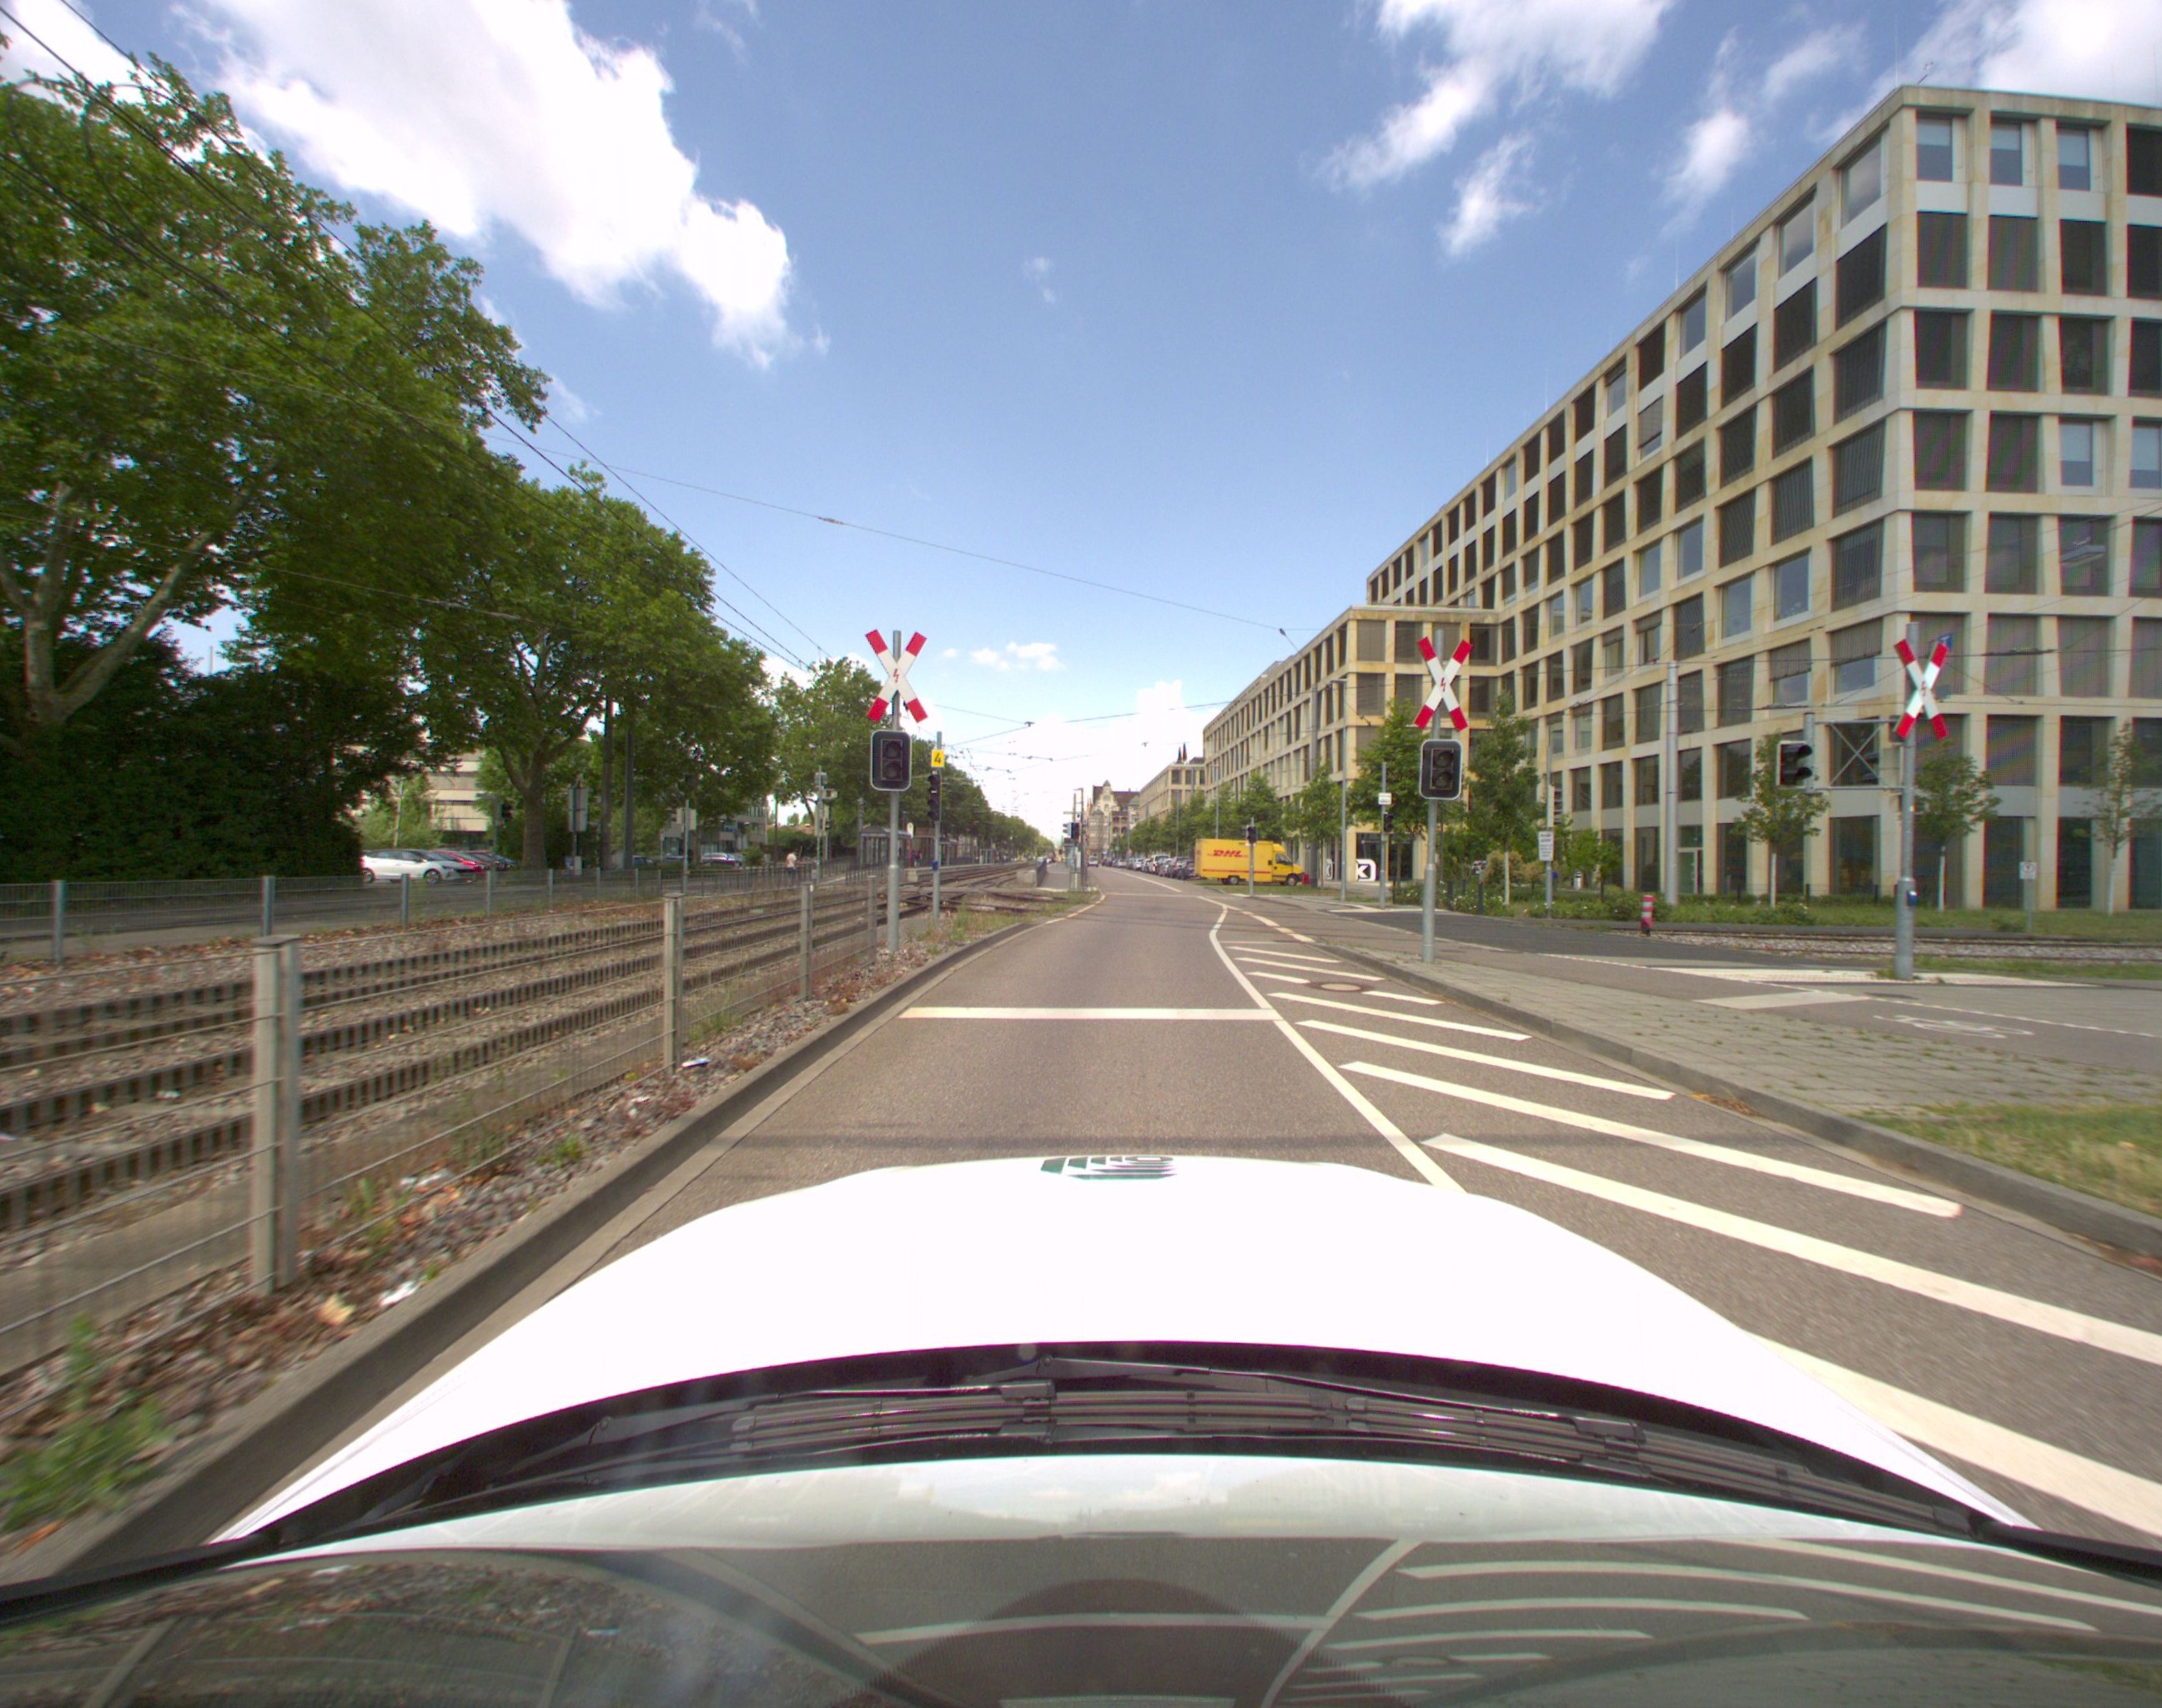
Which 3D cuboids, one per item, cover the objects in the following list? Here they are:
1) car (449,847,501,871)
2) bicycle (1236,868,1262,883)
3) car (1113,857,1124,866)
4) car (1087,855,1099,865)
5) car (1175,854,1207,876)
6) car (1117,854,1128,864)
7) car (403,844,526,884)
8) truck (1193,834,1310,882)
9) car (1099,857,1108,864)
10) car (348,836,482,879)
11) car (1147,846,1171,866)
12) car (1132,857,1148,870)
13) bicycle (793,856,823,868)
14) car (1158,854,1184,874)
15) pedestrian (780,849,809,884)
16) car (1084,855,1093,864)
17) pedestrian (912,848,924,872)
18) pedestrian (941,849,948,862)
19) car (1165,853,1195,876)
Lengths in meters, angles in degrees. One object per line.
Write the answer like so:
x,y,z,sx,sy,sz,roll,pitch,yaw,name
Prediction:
-54.850,0.461,73.746,4.383,2.014,2.012,-1,-1,26,car
12.085,1.538,58.578,1.837,0.957,0.381,2,-1,-3,bicycle
6.700,1.386,147.185,1.587,1.434,4.102,3,-1,-3,car
2.054,1.049,139.898,1.864,1.746,3.997,2,-1,-2,car
8.101,0.804,60.286,1.686,1.505,4.065,1,-1,-1,car
6.887,0.840,135.877,1.586,1.460,3.612,2,0,0,car
-27.360,0.445,36.270,3.980,1.750,1.801,0,0,-5,car
10.608,0.269,51.060,6.792,2.867,2.451,1,-1,-4,truck
4.804,1.432,174.044,1.440,1.470,4.088,-1,-1,-3,car
-27.815,0.154,34.129,3.980,1.750,1.801,0,0,-5,car
7.890,0.227,82.352,1.876,1.939,4.840,0,-1,-1,car
7.470,1.150,103.139,1.681,1.606,4.149,0,-1,-1,car
-30.104,0.899,89.884,3.026,1.167,0.635,4,-1,3,bicycle
7.831,0.873,70.872,1.716,1.620,3.857,1,-1,-1,car
-11.297,0.496,32.152,0.860,1.343,0.921,-1,-1,-4,pedestrian
1.652,1.178,184.487,1.988,2.014,3.998,-1,-1,-1,car
-12.508,0.437,62.398,0.704,1.845,0.864,0,0,-1,pedestrian
-14.284,0.161,85.161,0.551,1.269,0.768,1,-1,0,pedestrian
7.942,0.809,65.796,1.764,1.767,4.837,1,-1,-1,car
